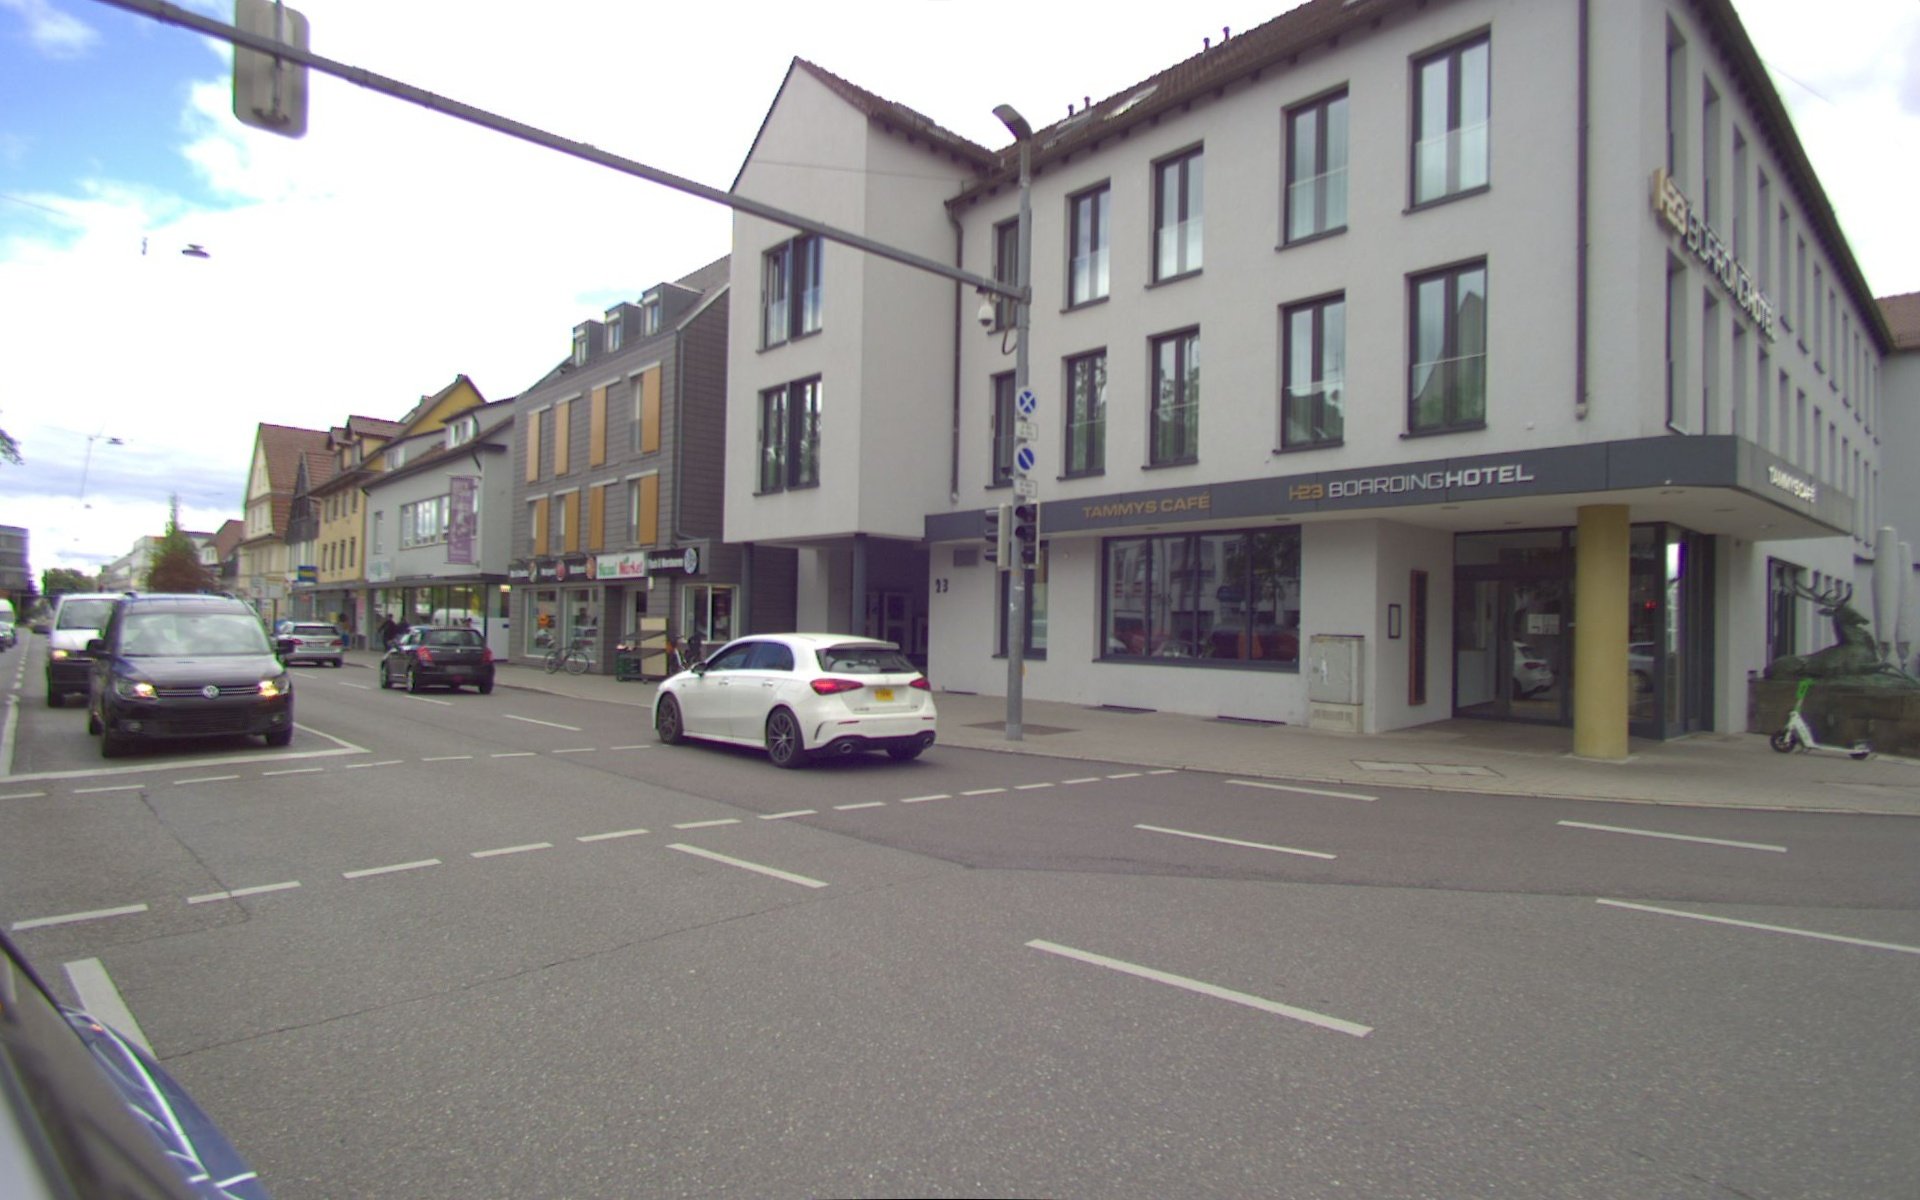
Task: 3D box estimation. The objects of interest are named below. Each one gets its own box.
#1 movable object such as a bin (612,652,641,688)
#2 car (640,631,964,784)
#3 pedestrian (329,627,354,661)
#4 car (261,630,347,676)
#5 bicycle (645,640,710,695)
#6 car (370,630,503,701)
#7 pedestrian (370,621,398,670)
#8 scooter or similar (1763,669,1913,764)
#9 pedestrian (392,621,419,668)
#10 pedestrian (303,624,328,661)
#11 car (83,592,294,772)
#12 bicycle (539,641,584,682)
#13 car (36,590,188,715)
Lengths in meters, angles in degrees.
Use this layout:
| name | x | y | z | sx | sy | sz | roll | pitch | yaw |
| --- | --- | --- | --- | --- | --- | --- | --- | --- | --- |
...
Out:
| name | x | y | z | sx | sy | sz | roll | pitch | yaw |
| --- | --- | --- | --- | --- | --- | --- | --- | --- | --- |
| movable object such as a bin | -8.684 | 1.823 | 26.336 | 0.544 | 0.906 | 0.507 | 1 | -2 | -44 |
| car | -2.019 | 1.121 | 11.944 | 1.723 | 1.470 | 4.240 | 3 | -3 | -42 |
| pedestrian | -28.688 | 2.031 | 46.949 | 0.800 | 1.595 | 0.922 | 2 | -2 | -42 |
| car | -22.957 | 1.823 | 35.363 | 1.846 | 1.497 | 4.004 | 2 | -3 | -43 |
| bicycle | -6.854 | 1.608 | 24.479 | 0.575 | 1.241 | 2.121 | 2 | -2 | -43 |
| car | -11.941 | 1.443 | 22.976 | 1.723 | 1.470 | 3.822 | 3 | -3 | -42 |
| pedestrian | -22.034 | 1.736 | 38.702 | 0.698 | 1.853 | 1.029 | 2 | -3 | -41 |
| scooter or similar | 12.004 | 1.583 | 13.861 | 1.555 | 1.167 | 0.425 | 3 | -2 | 6 |
| pedestrian | -21.490 | 1.718 | 39.208 | 0.698 | 1.795 | 0.871 | 2 | -3 | -41 |
| pedestrian | -29.432 | 1.936 | 46.224 | 0.800 | 1.674 | 0.922 | 2 | -2 | -42 |
| car | -9.731 | 0.871 | 12.610 | 1.687 | 1.834 | 4.577 | 0 | -1 | -42 |
| bicycle | -11.536 | 1.759 | 29.278 | 0.565 | 1.109 | 1.905 | 1 | -2 | -42 |
| car | -15.924 | 0.897 | 18.925 | 1.969 | 2.029 | 4.845 | 0 | -1 | -42 |
